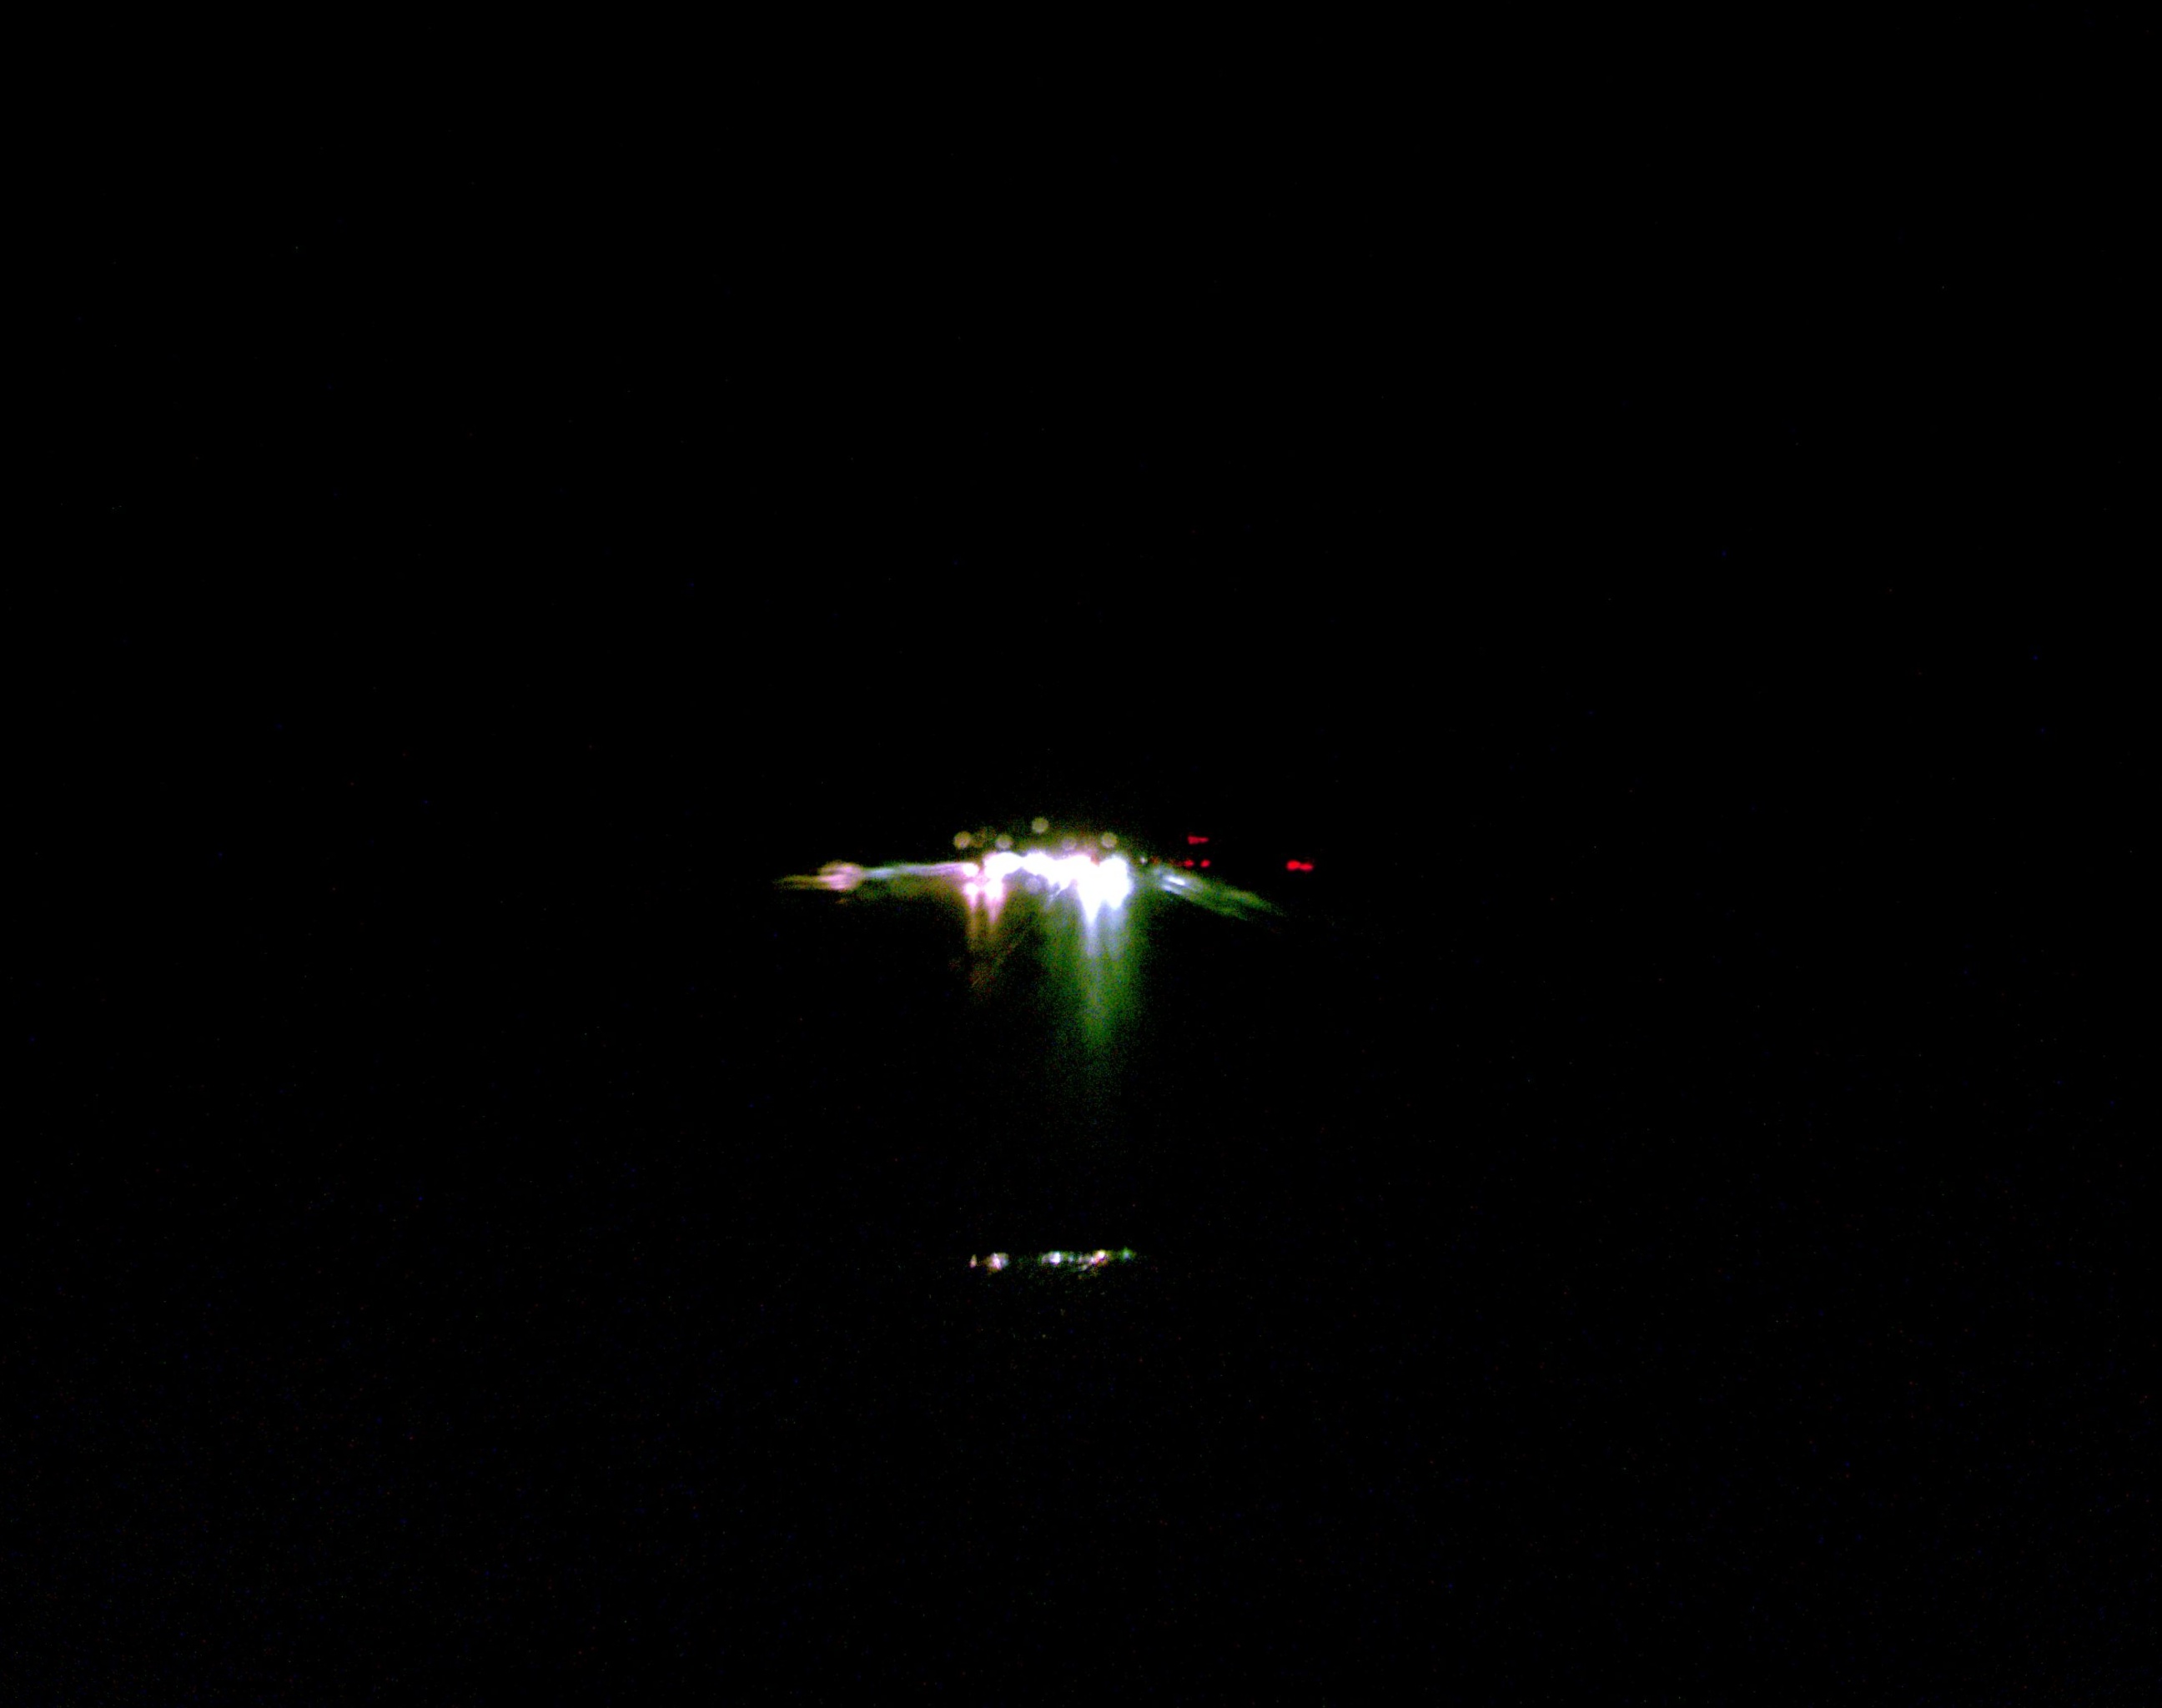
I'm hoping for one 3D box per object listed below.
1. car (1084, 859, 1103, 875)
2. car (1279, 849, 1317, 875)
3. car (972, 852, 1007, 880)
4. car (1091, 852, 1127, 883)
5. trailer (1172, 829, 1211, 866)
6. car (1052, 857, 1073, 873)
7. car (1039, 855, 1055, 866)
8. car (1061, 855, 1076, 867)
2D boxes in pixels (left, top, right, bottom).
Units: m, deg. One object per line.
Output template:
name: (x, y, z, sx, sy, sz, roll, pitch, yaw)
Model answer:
car: (1.483, 1.478, 87.070, 1.883, 1.654, 4.001, -2, -1, 4)
car: (18.094, 0.630, 63.466, 1.998, 2.002, 4.390, 0, 1, 1)
car: (-6.461, 0.868, 53.932, 1.832, 1.835, 4.699, -2, -1, 0)
car: (1.662, 0.747, 43.861, 1.882, 1.654, 4.002, -2, -1, 4)
trailer: (14.376, -0.807, 100.188, 2.697, 4.352, 14.629, -2, 0, 0)
car: (-1.958, 1.184, 82.312, 1.882, 1.654, 4.002, -2, -1, 4)
car: (-5.256, 0.990, 116.537, 1.882, 1.654, 4.002, -2, -1, 4)
car: (-1.909, 1.082, 115.361, 1.883, 1.654, 4.001, -2, -1, 3)
